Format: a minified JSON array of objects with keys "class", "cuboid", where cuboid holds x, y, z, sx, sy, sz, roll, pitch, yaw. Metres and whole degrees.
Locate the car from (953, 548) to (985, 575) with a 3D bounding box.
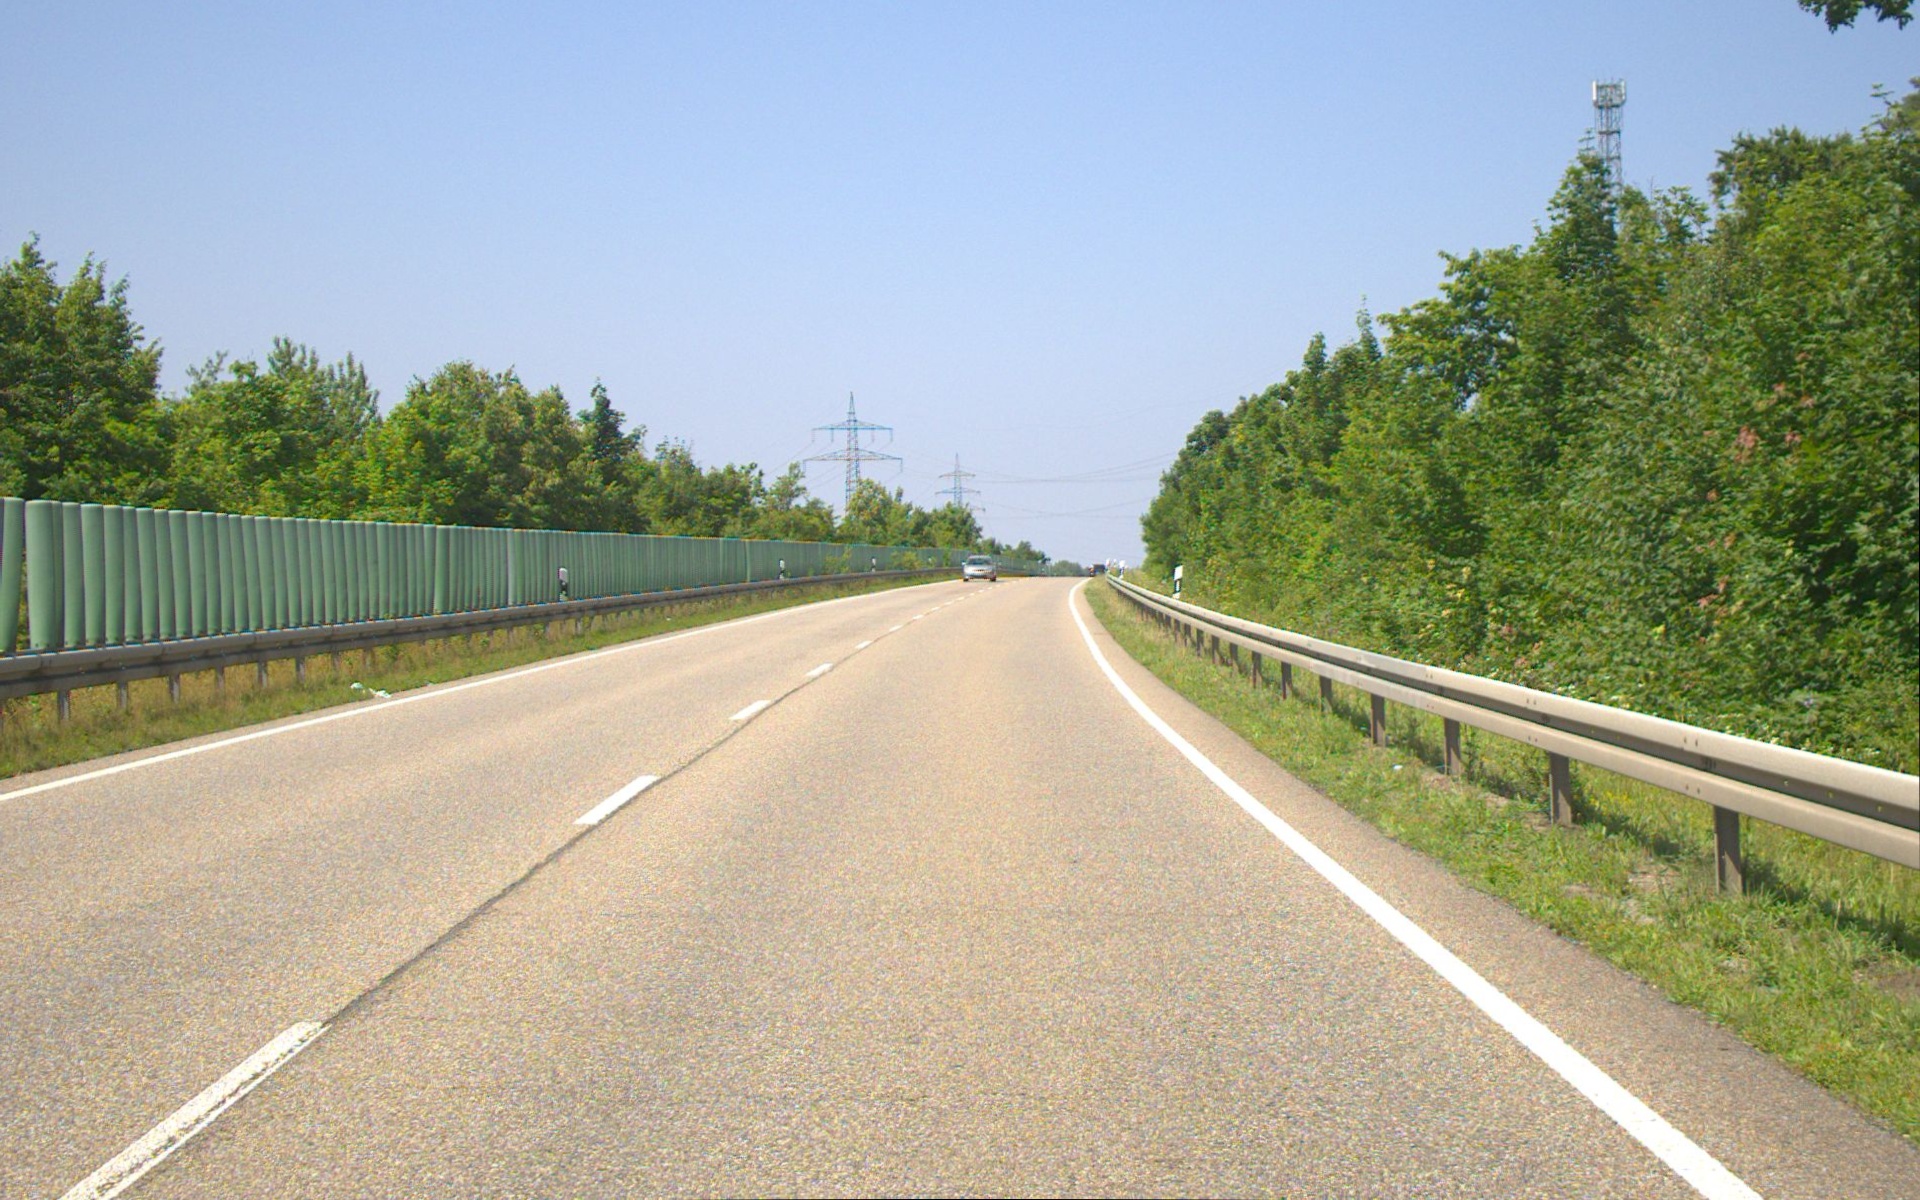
[{"class":"car","cuboid":[0.525,-2.192,194.294,1.720,1.496,4.248,0,1,1]}]
